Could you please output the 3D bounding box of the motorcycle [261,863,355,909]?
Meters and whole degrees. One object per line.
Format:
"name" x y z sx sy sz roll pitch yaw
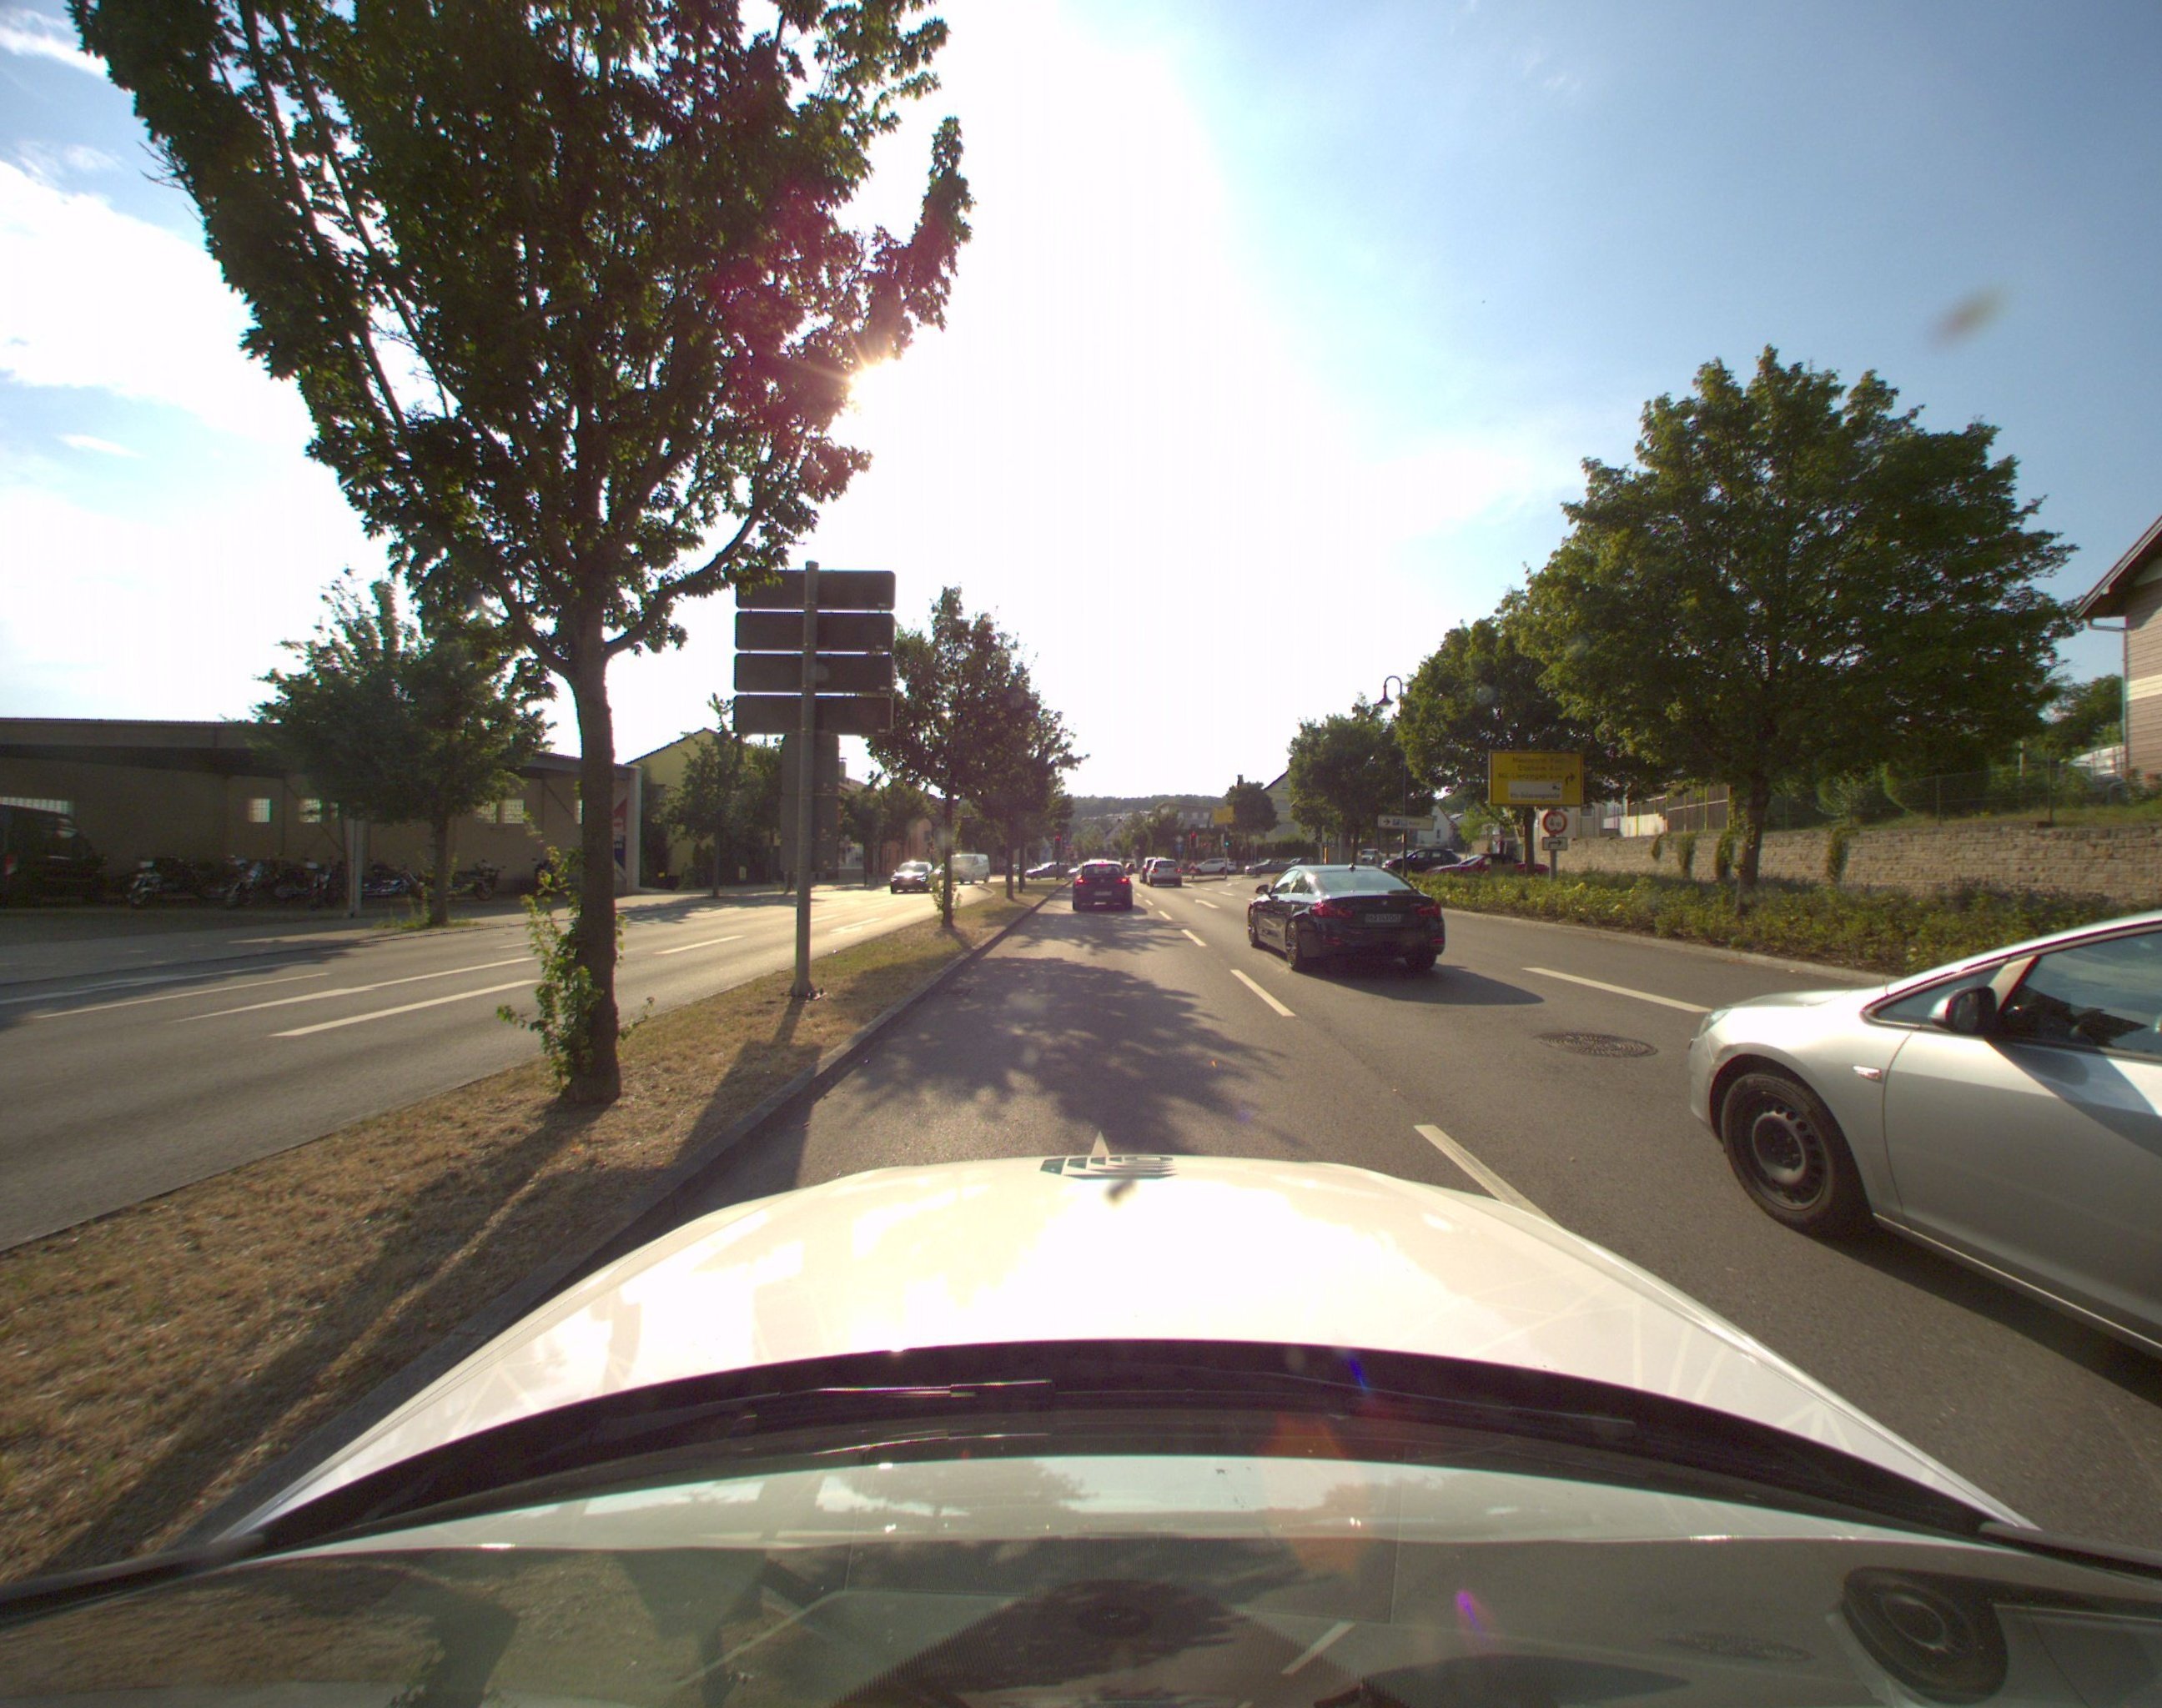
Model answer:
"motorcycle" -25.756 1.049 27.180 0.587 1.449 2.167 -1 -1 31

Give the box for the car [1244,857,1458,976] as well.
"car" 3.630 0.762 11.825 1.809 1.389 4.349 -1 -1 2

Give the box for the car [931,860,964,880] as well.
"car" -10.422 1.265 63.915 1.800 1.497 4.246 0 -1 1

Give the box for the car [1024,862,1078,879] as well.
"car" -2.732 1.508 74.451 4.711 1.462 1.681 0 0 -19

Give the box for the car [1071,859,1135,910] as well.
"car" 0.710 0.882 25.165 1.784 1.414 4.349 -1 -1 2

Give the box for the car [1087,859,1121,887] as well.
"car" 1.296 1.030 45.760 1.809 1.451 4.243 -1 -1 2

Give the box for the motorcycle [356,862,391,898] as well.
"motorcycle" -27.073 0.970 31.167 0.585 1.307 2.070 0 -1 -29

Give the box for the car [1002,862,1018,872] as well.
"car" -11.211 2.057 128.717 1.916 1.596 4.002 0 -1 2

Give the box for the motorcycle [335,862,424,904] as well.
"motorcycle" -23.260 0.931 27.061 0.556 1.330 2.167 -1 -1 31

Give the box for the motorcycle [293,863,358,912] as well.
"motorcycle" -21.184 0.920 22.888 0.670 1.311 1.992 0 -1 -22

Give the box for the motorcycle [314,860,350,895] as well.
"motorcycle" -29.360 0.898 31.958 0.565 1.307 2.070 0 -1 -29

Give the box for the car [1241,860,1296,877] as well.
"car" 16.623 1.305 72.212 4.462 1.349 1.781 0 3 -9

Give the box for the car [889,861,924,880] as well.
"car" -14.869 1.373 69.619 1.835 1.552 4.003 2 0 3

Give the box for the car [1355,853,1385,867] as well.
"car" 30.021 0.617 84.499 1.843 1.486 4.689 -1 -1 34

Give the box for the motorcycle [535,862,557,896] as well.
"motorcycle" -20.779 0.951 31.651 0.565 1.307 2.096 0 -1 -29

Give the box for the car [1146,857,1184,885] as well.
"car" 4.568 0.916 44.946 1.809 1.446 4.349 -1 -1 2

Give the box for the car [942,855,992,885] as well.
"car" -7.606 1.058 54.771 1.811 1.923 4.959 -1 -1 11

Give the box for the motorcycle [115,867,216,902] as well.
"motorcycle" -30.767 1.008 27.414 0.556 1.123 2.167 -1 -1 31

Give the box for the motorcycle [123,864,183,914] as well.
"motorcycle" -25.133 0.919 22.097 0.652 1.311 1.985 0 -1 -36

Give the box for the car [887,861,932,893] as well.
"car" -8.262 1.059 39.522 1.767 1.451 4.098 -1 -1 -7

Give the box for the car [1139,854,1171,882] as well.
"car" 4.655 0.853 51.669 1.809 1.666 4.349 -1 -1 2

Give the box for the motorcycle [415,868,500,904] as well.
"motorcycle" -20.786 1.036 27.214 0.623 1.124 2.167 -1 -1 31

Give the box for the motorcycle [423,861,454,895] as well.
"motorcycle" -25.240 0.933 32.022 0.625 1.307 2.070 0 -1 -29

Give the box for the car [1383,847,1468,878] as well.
"car" 18.611 0.469 44.131 3.959 1.608 1.860 -1 -1 13

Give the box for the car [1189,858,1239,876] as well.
"car" 13.084 1.270 79.951 4.472 1.702 1.906 -2 -1 19

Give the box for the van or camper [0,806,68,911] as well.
"van or camper" -29.695 0.144 22.189 2.011 2.680 4.976 0 -1 -44

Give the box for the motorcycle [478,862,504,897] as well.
"motorcycle" -22.900 0.966 31.615 0.565 1.307 2.070 0 -1 -29

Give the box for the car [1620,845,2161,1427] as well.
"car" 3.539 0.689 2.032 1.737 1.442 4.169 -1 -1 2

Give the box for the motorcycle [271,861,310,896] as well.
"motorcycle" -30.387 0.920 31.334 0.565 1.307 2.070 0 -1 -29

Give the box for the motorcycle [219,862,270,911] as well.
"motorcycle" -23.271 0.884 22.682 0.652 1.311 1.985 0 -1 -36

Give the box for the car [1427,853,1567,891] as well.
"car" 14.250 0.617 28.109 3.959 1.272 1.860 -1 -1 13

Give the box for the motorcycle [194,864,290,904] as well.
"motorcycle" -28.151 0.979 27.372 0.638 1.258 2.167 -1 -1 31

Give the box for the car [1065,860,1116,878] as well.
"car" 0.759 1.257 68.726 3.954 1.497 1.795 0 -1 -19
